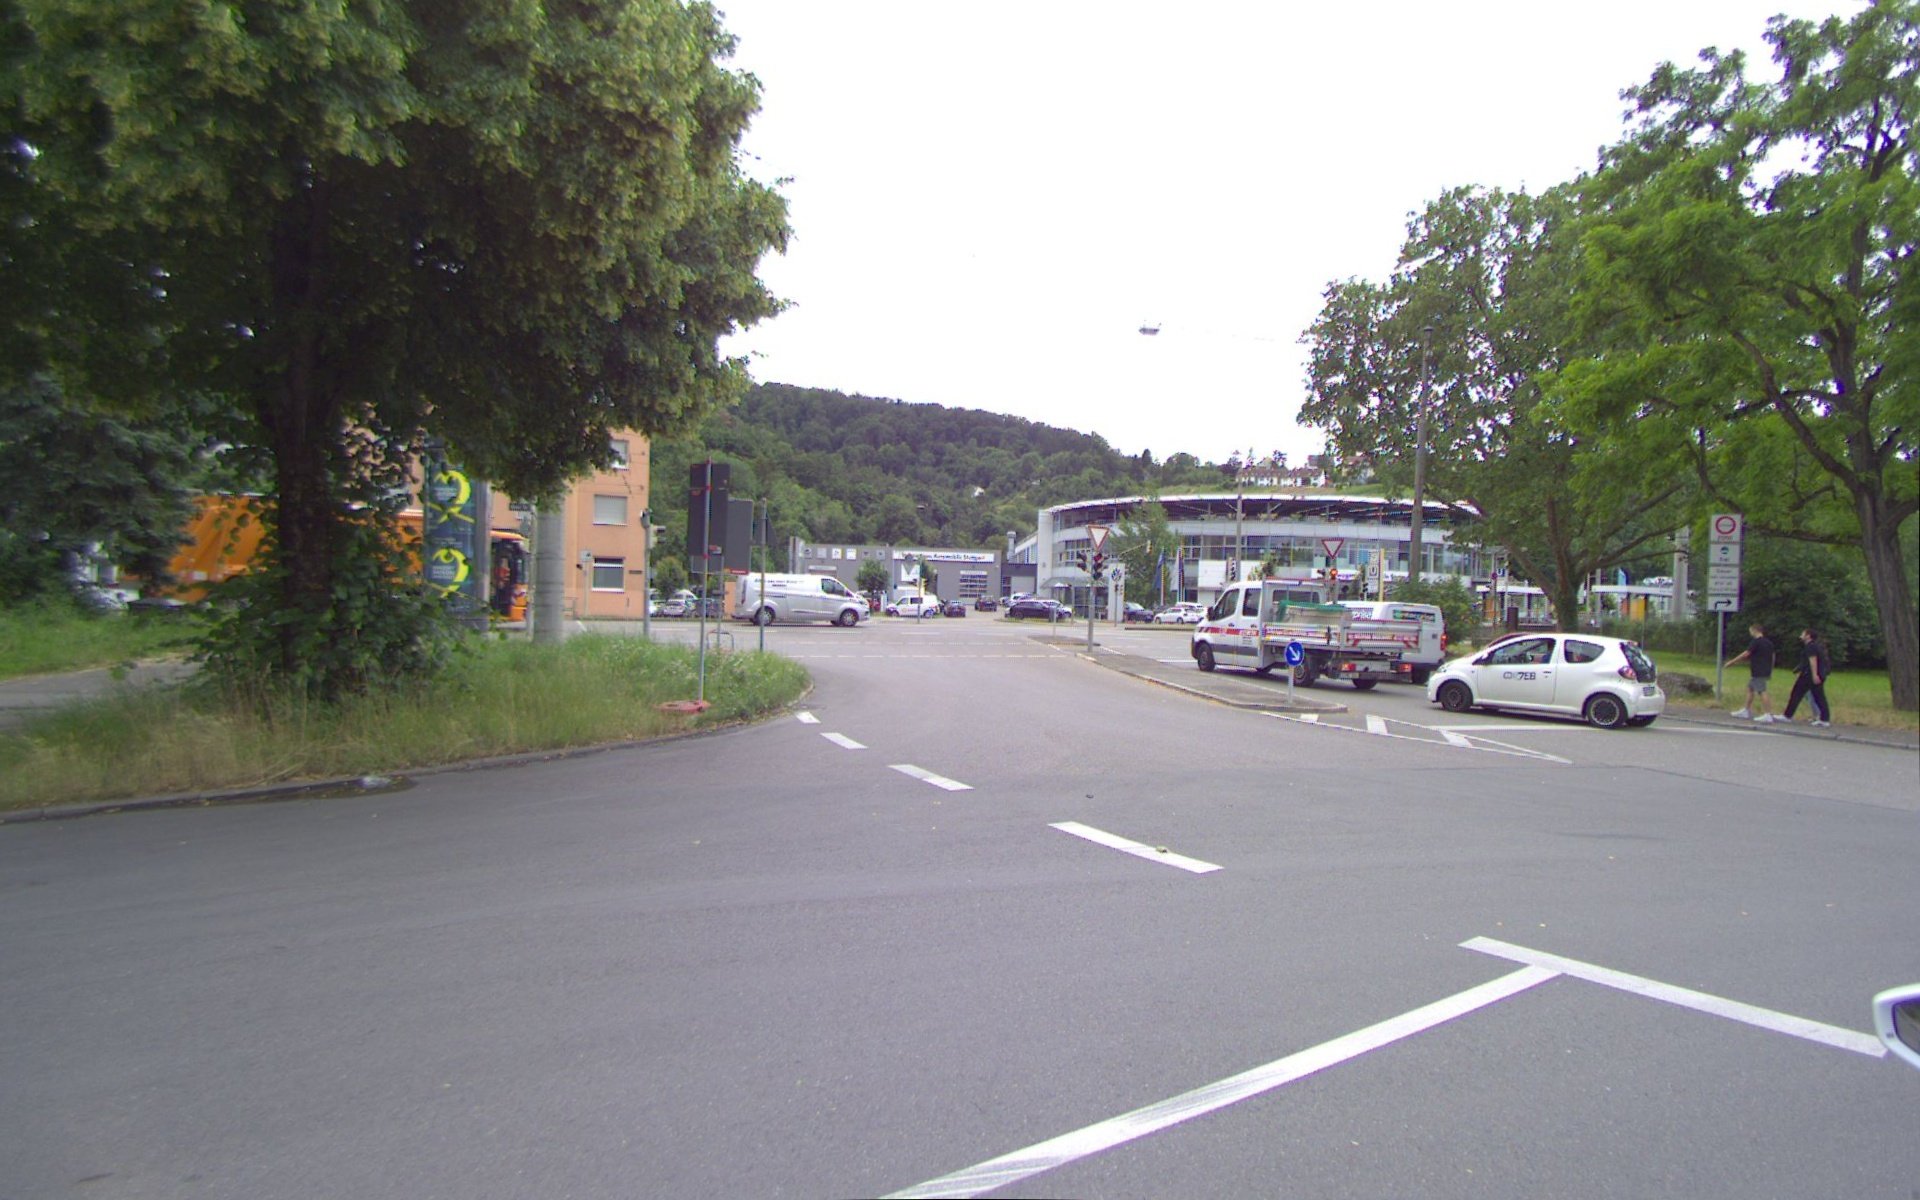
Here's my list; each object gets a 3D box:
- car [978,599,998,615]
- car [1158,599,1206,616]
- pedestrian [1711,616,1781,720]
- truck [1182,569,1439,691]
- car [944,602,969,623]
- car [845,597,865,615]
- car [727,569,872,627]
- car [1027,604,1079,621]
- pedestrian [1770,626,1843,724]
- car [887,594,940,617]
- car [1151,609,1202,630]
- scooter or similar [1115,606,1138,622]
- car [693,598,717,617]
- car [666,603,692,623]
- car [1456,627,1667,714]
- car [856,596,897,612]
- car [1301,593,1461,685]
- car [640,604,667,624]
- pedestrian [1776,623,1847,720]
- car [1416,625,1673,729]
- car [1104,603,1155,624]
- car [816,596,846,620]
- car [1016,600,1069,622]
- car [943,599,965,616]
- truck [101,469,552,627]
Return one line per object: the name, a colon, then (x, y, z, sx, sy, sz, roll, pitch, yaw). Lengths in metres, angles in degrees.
car: (2.963, 0.739, 106.819, 1.741, 1.554, 4.088, 2, 0, -3)
car: (21.206, 0.740, 95.945, 4.150, 1.511, 1.788, 2, 0, 40)
pedestrian: (14.860, 1.266, 18.994, 0.686, 1.882, 0.783, 1, 0, -25)
truck: (7.812, 0.613, 23.283, 2.392, 2.430, 6.002, 1, 0, -19)
car: (-0.345, 1.104, 92.934, 1.962, 1.840, 3.997, 2, 0, -5)
car: (-9.722, 0.560, 93.036, 1.742, 1.554, 4.086, 2, 0, -6)
car: (-6.217, -0.064, 38.965, 5.224, 2.040, 1.962, 2, 1, -22)
car: (8.871, 1.188, 96.221, 4.719, 1.554, 1.774, 2, 0, -4)
pedestrian: (15.526, 1.352, 18.443, 0.686, 1.737, 0.783, 1, 0, -25)
car: (-4.118, 0.495, 89.546, 4.613, 1.929, 1.775, 2, 0, -1)
car: (17.862, 1.609, 82.944, 1.759, 1.521, 3.980, 2, 0, -37)
scooter or similar: (12.895, 1.116, 77.889, 1.640, 1.193, 0.467, 2, 0, 1)
car: (-22.219, 0.668, 87.553, 1.752, 1.539, 3.623, 2, 1, -10)
car: (-24.539, 1.135, 87.767, 1.752, 1.539, 3.623, 2, 1, -10)
car: (11.987, 1.365, 20.262, 1.618, 1.476, 3.418, 3, 0, -17)
car: (-8.505, 0.405, 102.371, 4.011, 1.554, 1.775, 2, 0, -2)
car: (10.730, 0.930, 26.061, 1.957, 2.135, 4.759, 1, 0, -2)
car: (-26.604, 1.208, 87.334, 1.752, 1.539, 3.623, 2, 1, -10)
pedestrian: (16.082, 1.330, 18.978, 0.686, 1.763, 0.783, 1, 0, -25)
car: (9.804, 1.210, 17.030, 1.629, 1.452, 3.394, 1, 0, -37)
car: (13.651, 1.067, 80.958, 1.760, 1.521, 3.838, 2, 0, -39)
car: (-10.497, 0.627, 81.293, 1.835, 1.842, 4.388, 2, 0, -15)
car: (6.232, 0.813, 76.150, 3.802, 1.521, 1.777, 2, 0, 11)
car: (-0.546, 0.672, 92.635, 1.741, 1.554, 4.088, 2, 0, -3)
truck: (-17.338, -1.293, 28.513, 10.256, 3.573, 2.787, 3, 0, -18)
